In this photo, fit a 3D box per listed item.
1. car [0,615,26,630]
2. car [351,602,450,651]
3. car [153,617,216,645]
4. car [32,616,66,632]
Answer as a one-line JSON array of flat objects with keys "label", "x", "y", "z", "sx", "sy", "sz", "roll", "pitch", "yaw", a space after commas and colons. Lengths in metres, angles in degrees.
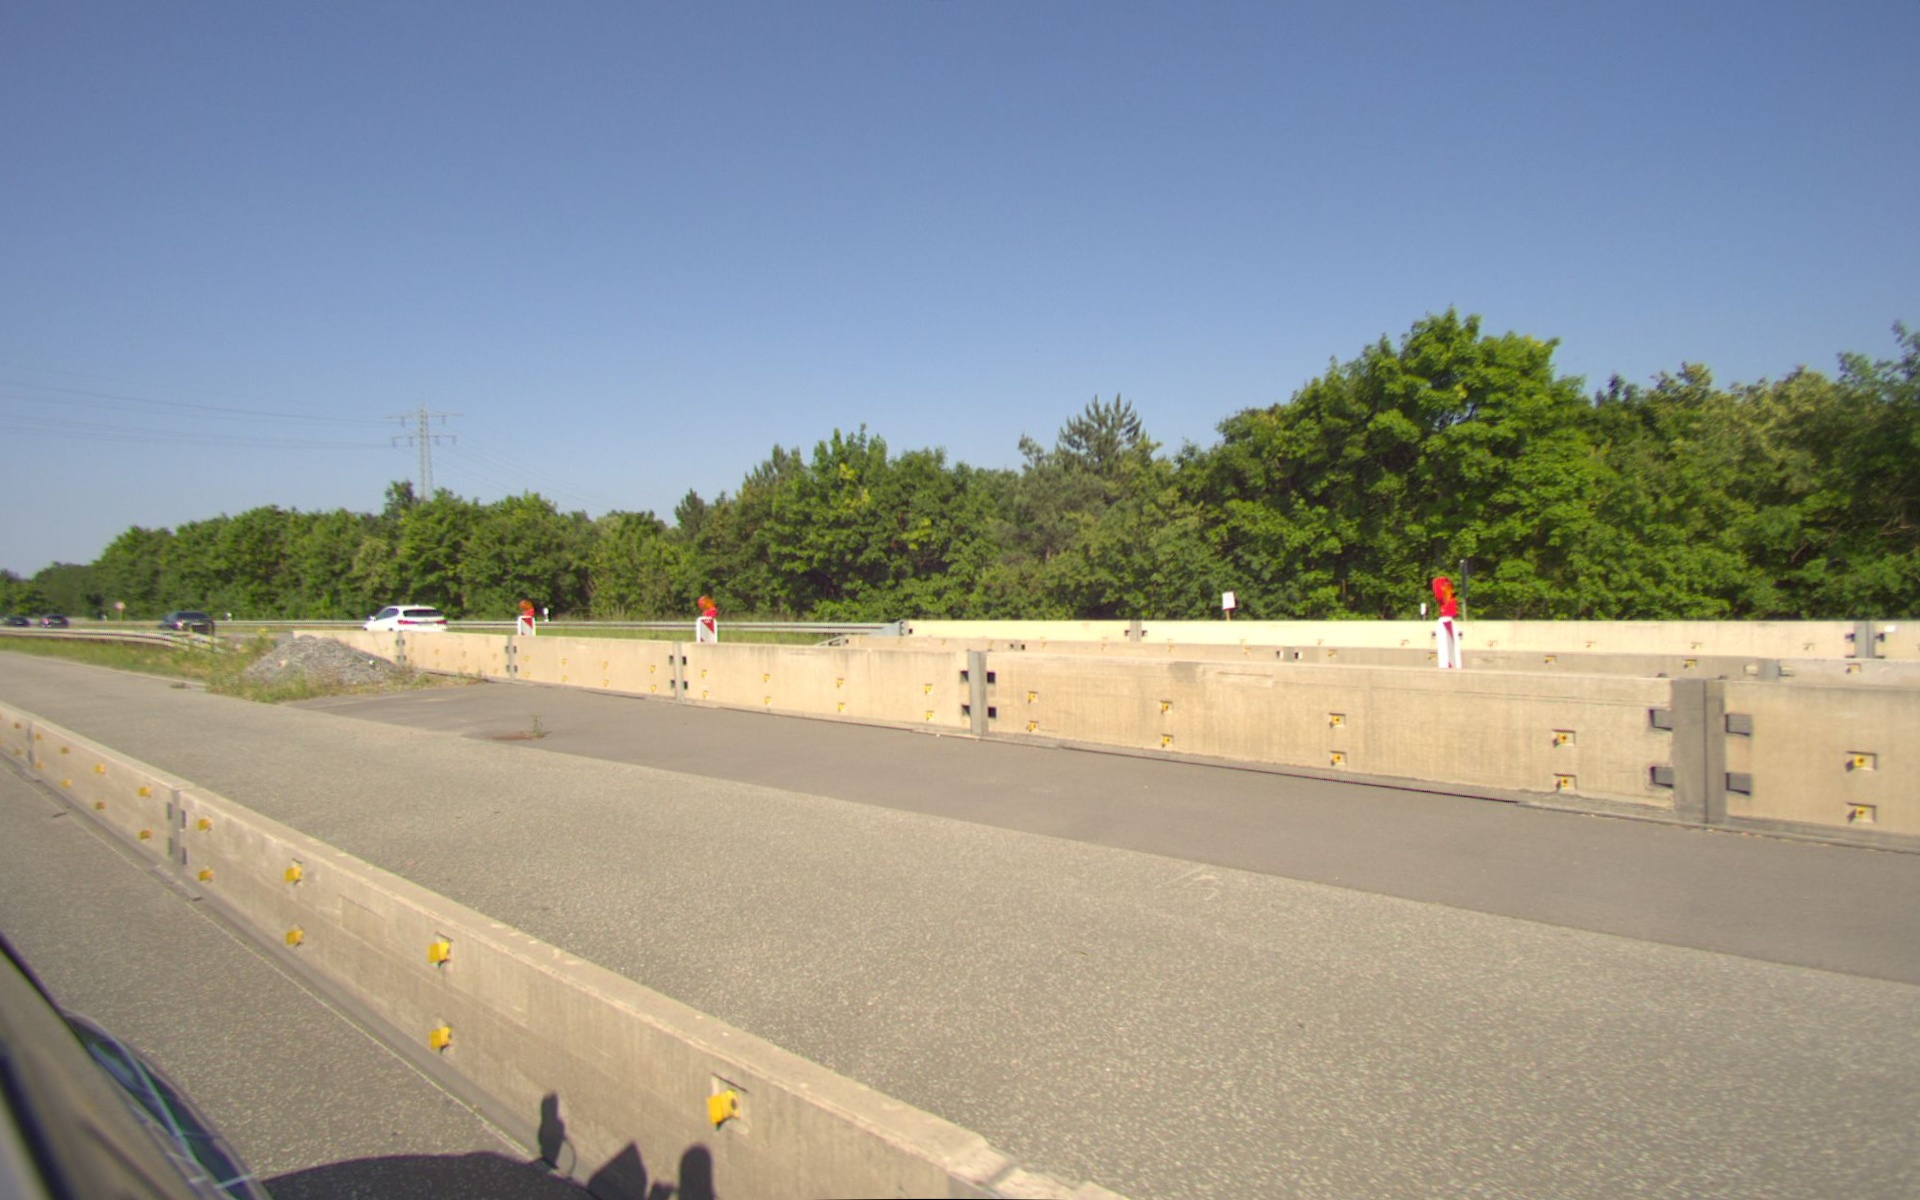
[{"label": "car", "x": -98.335, "y": 2.345, "z": 104.854, "sx": 5.022, "sy": 1.499, "sz": 1.796, "roll": -1, "pitch": -2, "yaw": 42}, {"label": "car", "x": -20.055, "y": 0.919, "z": 36.191, "sx": 4.439, "sy": 1.620, "sz": 1.797, "roll": -1, "pitch": 0, "yaw": 43}, {"label": "car", "x": -41.466, "y": 1.638, "z": 54.073, "sx": 4.811, "sy": 1.451, "sz": 1.820, "roll": -1, "pitch": -1, "yaw": 42}, {"label": "car", "x": -84.520, "y": 2.228, "z": 93.825, "sx": 4.590, "sy": 1.445, "sz": 1.778, "roll": -1, "pitch": 1, "yaw": 41}]
